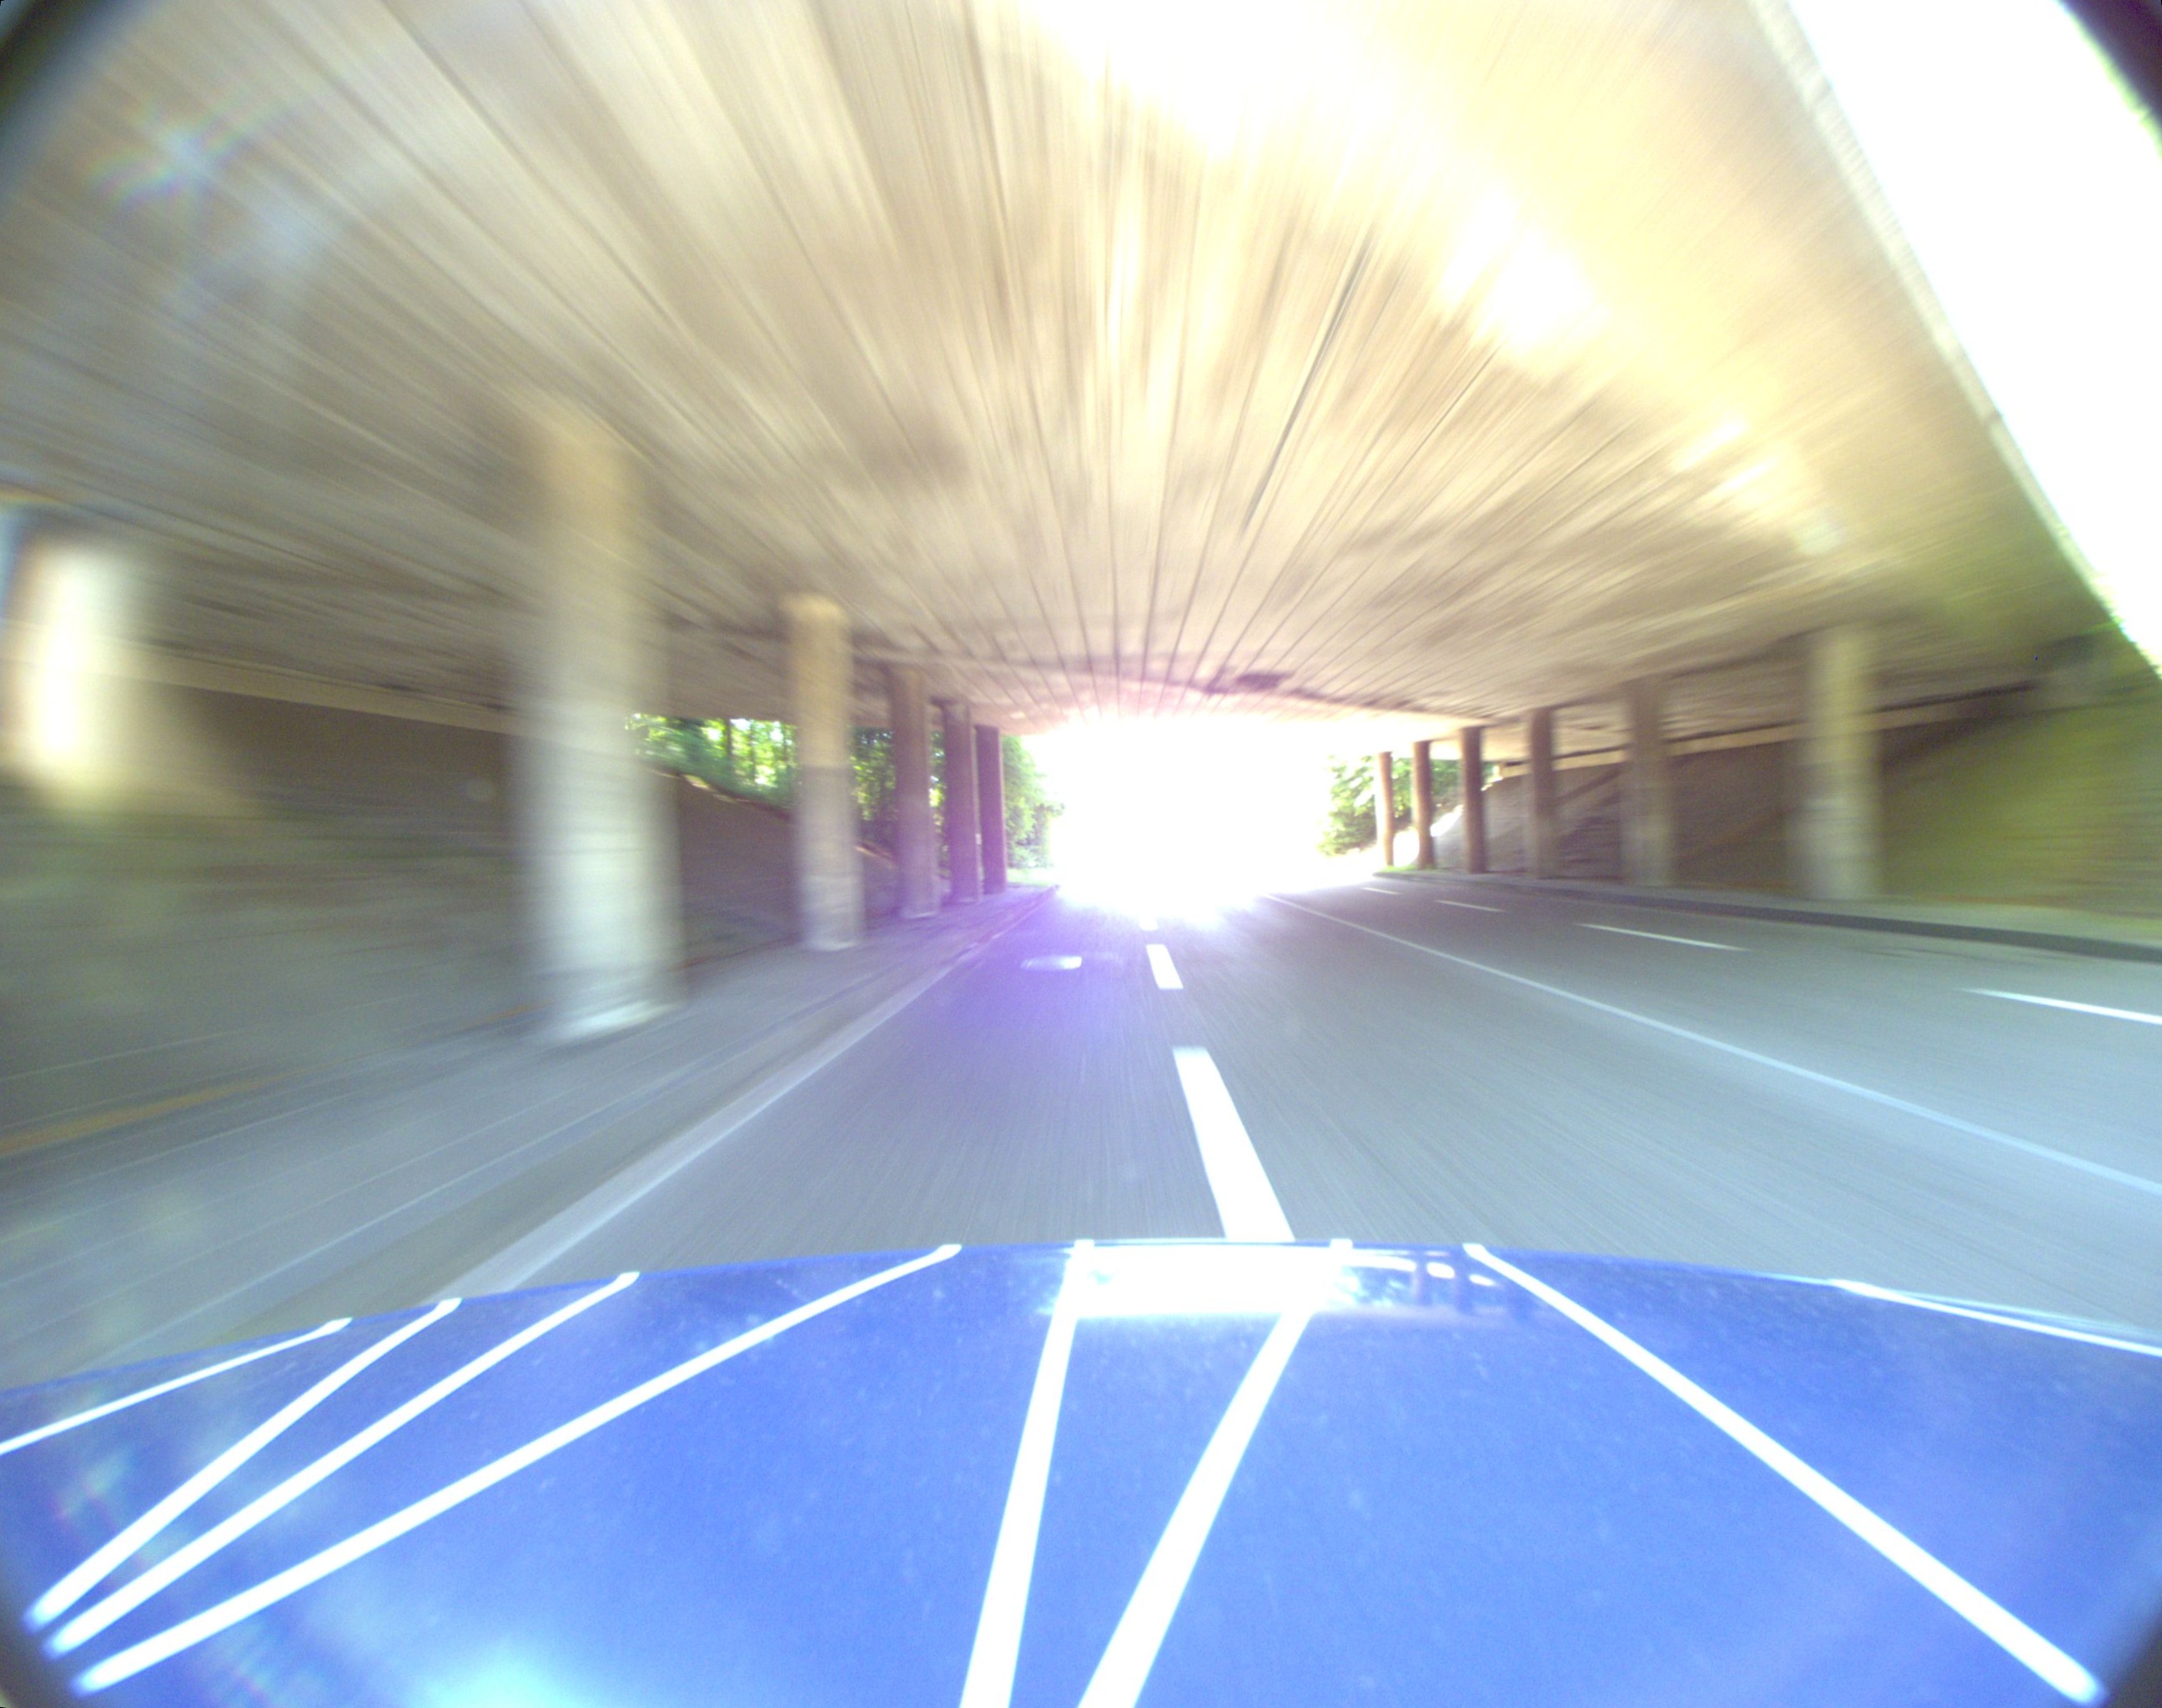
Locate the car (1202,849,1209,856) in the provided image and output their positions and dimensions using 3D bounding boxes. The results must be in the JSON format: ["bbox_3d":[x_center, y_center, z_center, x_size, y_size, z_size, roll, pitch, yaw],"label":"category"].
[{"bbox_3d":[36.440,-0.354,222.490,1.844,2.002,4.003,-1,0,9],"label":"car"}]

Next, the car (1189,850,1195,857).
[{"bbox_3d":[34.413,-0.232,235.317,1.997,1.952,4.002,-1,1,8],"label":"car"}]

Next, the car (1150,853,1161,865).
[{"bbox_3d":[12.171,0.730,124.663,1.746,1.833,4.001,-1,1,4],"label":"car"}]

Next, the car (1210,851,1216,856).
[{"bbox_3d":[41.807,-0.204,240.031,1.688,1.635,3.673,-1,1,10],"label":"car"}]

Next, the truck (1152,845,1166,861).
[{"bbox_3d":[14.765,-0.287,144.376,2.457,2.927,6.976,-1,1,5],"label":"truck"}]
